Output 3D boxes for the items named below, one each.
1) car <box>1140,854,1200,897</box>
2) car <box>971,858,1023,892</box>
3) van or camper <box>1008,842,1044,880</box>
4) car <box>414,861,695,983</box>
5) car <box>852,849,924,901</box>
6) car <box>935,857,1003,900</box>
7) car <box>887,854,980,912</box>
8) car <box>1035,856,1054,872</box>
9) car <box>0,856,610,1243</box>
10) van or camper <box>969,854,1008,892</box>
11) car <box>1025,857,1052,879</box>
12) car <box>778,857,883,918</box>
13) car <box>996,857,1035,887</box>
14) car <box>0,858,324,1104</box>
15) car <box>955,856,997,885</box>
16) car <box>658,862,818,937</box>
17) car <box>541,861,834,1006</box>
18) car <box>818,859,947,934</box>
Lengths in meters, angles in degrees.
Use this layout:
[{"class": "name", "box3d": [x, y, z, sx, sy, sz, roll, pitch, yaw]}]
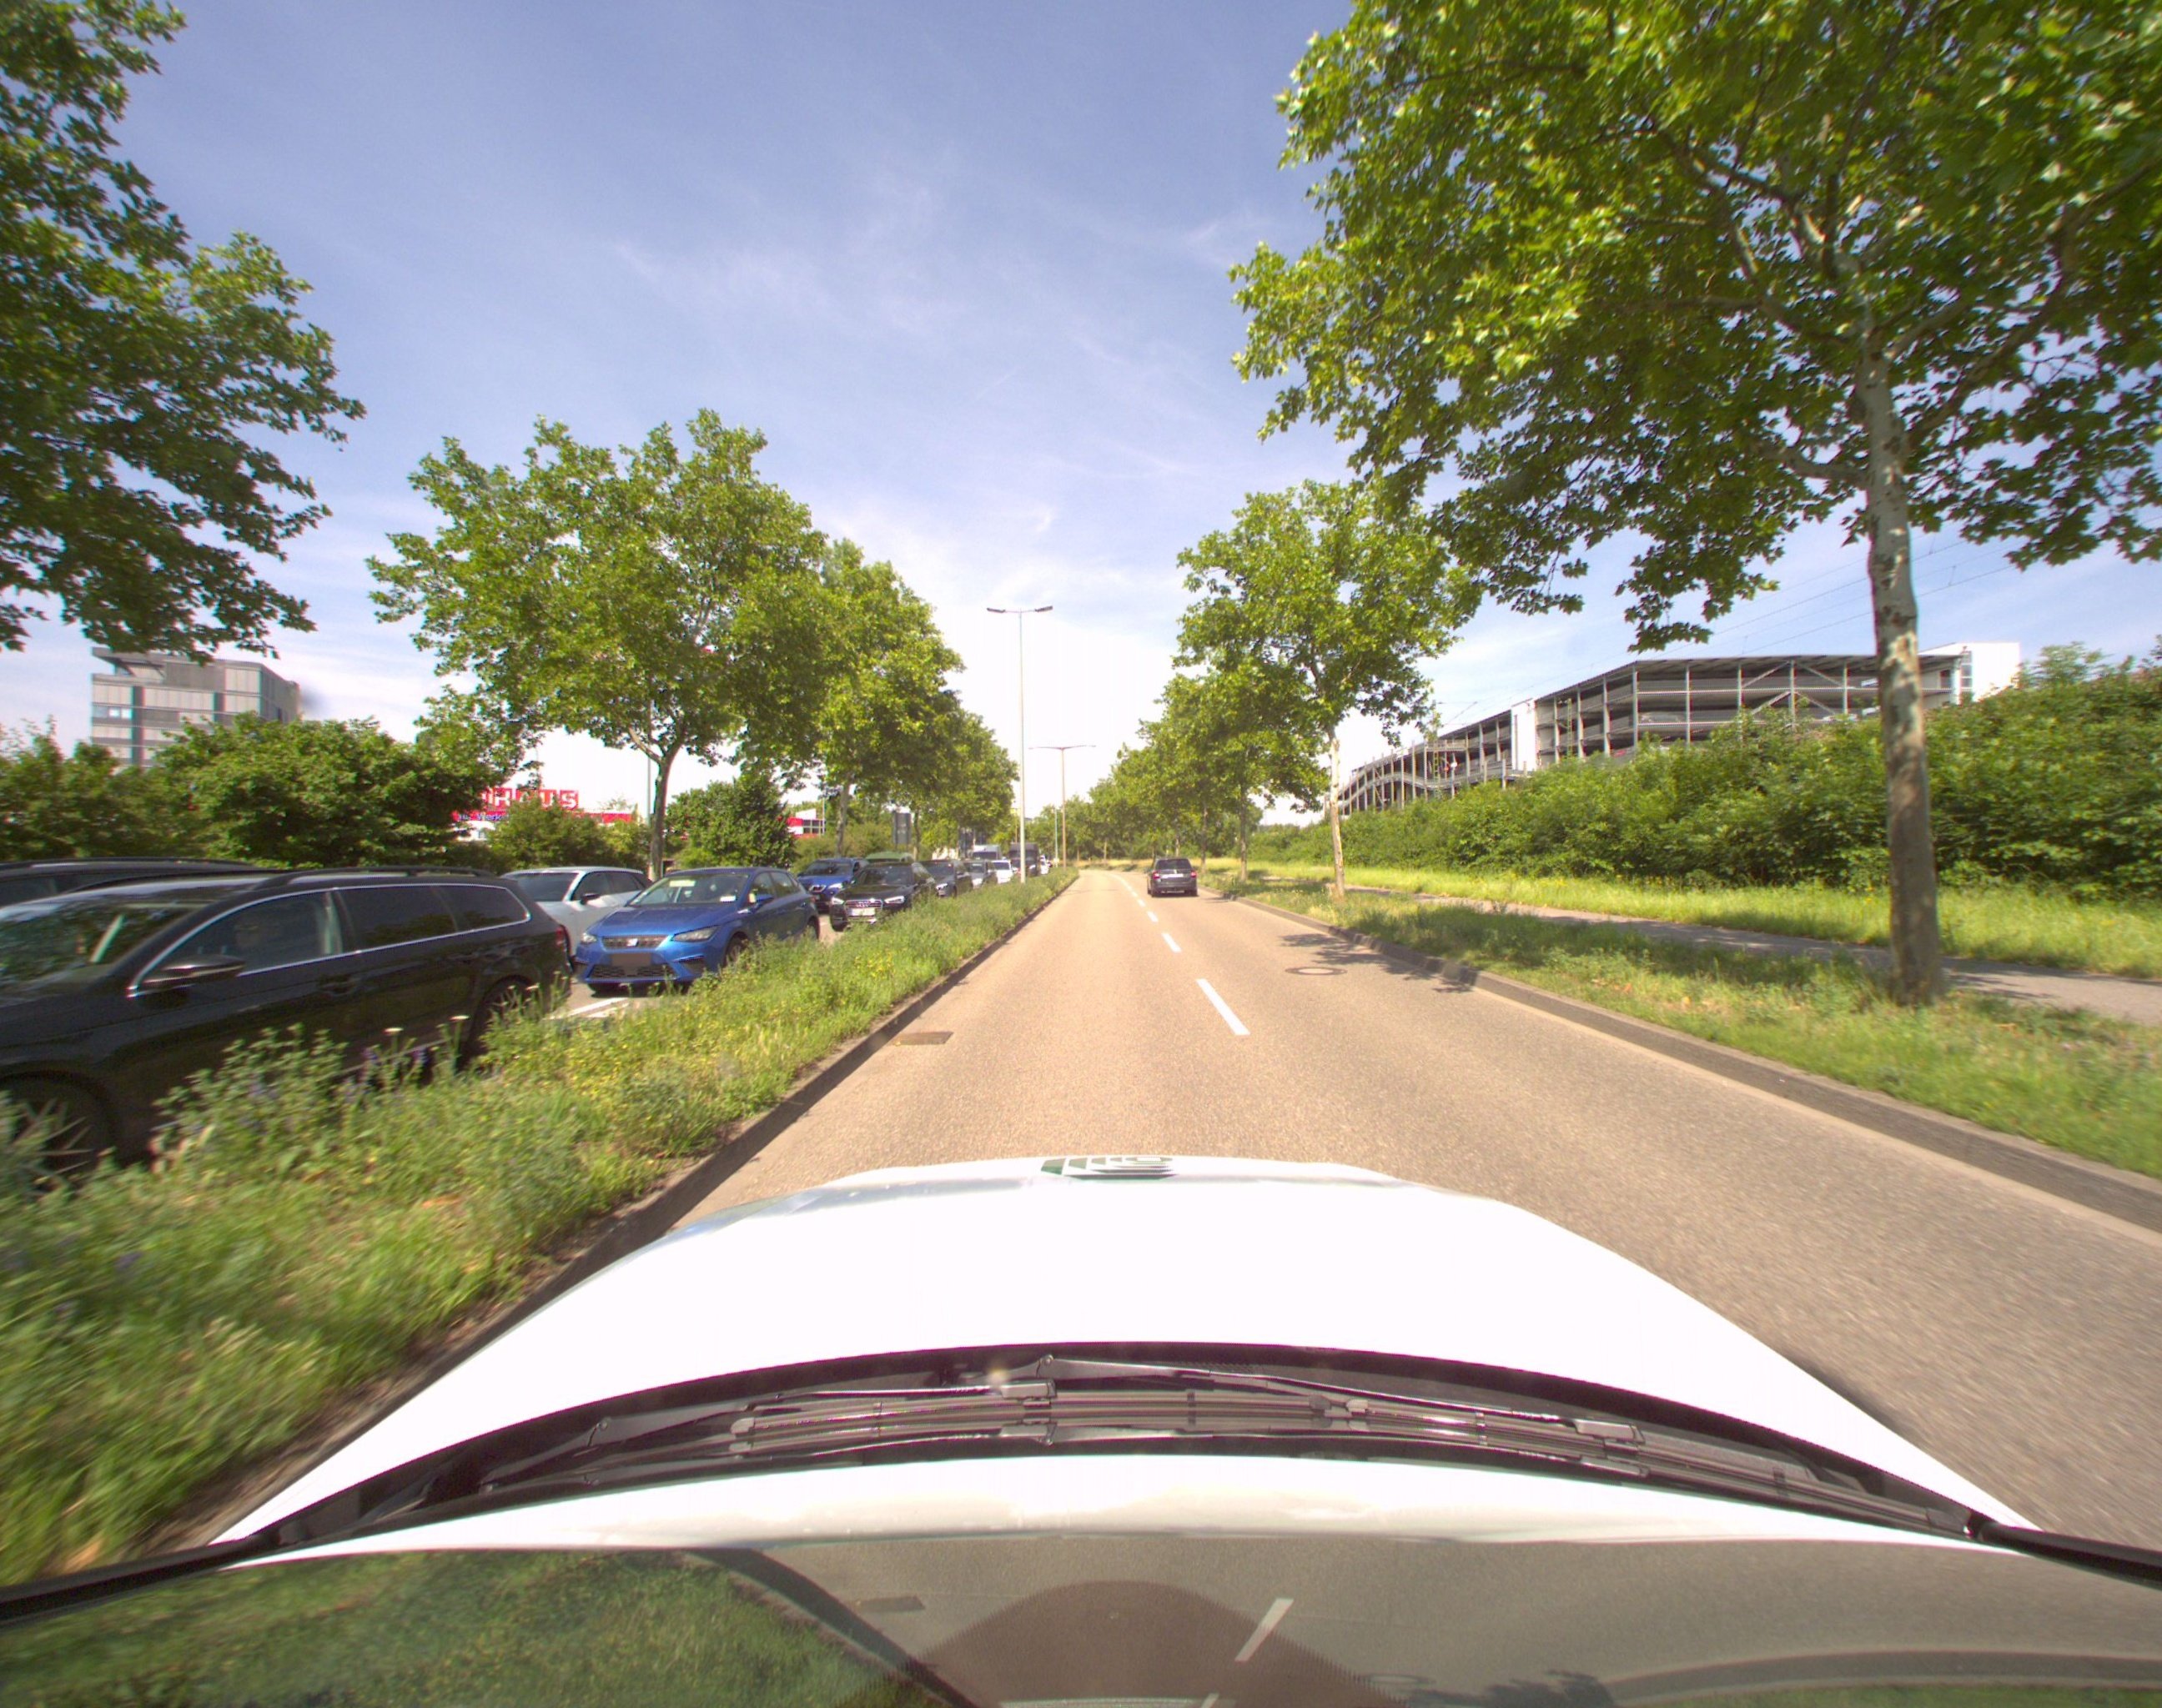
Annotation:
[{"class": "car", "box3d": [3.260, 0.765, 30.451, 1.669, 1.453, 4.033, 2, 0, -1]}, {"class": "car", "box3d": [-3.843, 0.927, 37.996, 1.777, 1.459, 4.473, -1, 0, 2]}, {"class": "van or camper", "box3d": [-3.550, 0.486, 53.582, 1.932, 2.369, 5.397, -1, -1, 0]}, {"class": "car", "box3d": [-7.840, 0.903, 12.654, 1.682, 1.530, 3.940, -1, 0, 2]}, {"class": "car", "box3d": [-7.427, 0.784, 31.691, 1.682, 1.858, 4.038, -1, -1, 2]}, {"class": "car", "box3d": [-4.290, 0.898, 31.927, 1.806, 1.530, 4.644, -2, 0, 2]}, {"class": "car", "box3d": [-4.487, 0.828, 25.602, 1.840, 1.607, 5.010, -1, 0, 2]}, {"class": "car", "box3d": [-3.753, 1.038, 85.088, 1.682, 1.530, 3.816, -1, 0, 2]}, {"class": "car", "box3d": [-5.147, 0.810, 4.826, 1.751, 1.530, 4.829, -2, 0, 2]}, {"class": "van or camper", "box3d": [-6.632, 1.327, 59.138, 2.007, 2.587, 5.519, -1, 0, 2]}, {"class": "car", "box3d": [-3.148, 1.059, 61.072, 1.682, 1.530, 3.816, -1, -1, 2]}, {"class": "car", "box3d": [-7.429, 0.925, 24.614, 1.682, 1.631, 4.312, -1, 0, 2]}, {"class": "car", "box3d": [-3.532, 0.924, 44.413, 1.682, 1.510, 3.816, -1, 0, 2]}, {"class": "car", "box3d": [-8.108, 0.878, 5.658, 1.682, 1.646, 4.179, -1, 0, 2]}, {"class": "car", "box3d": [-6.636, 1.010, 51.853, 1.986, 1.756, 4.001, -2, 0, 1]}, {"class": "car", "box3d": [-7.815, 0.962, 19.051, 1.725, 1.451, 4.430, -1, 0, 2]}, {"class": "car", "box3d": [-4.863, 0.870, 10.848, 1.778, 1.489, 4.211, -1, 0, 0]}, {"class": "car", "box3d": [-4.417, 0.886, 18.856, 1.817, 1.465, 4.450, -1, 0, 0]}]
